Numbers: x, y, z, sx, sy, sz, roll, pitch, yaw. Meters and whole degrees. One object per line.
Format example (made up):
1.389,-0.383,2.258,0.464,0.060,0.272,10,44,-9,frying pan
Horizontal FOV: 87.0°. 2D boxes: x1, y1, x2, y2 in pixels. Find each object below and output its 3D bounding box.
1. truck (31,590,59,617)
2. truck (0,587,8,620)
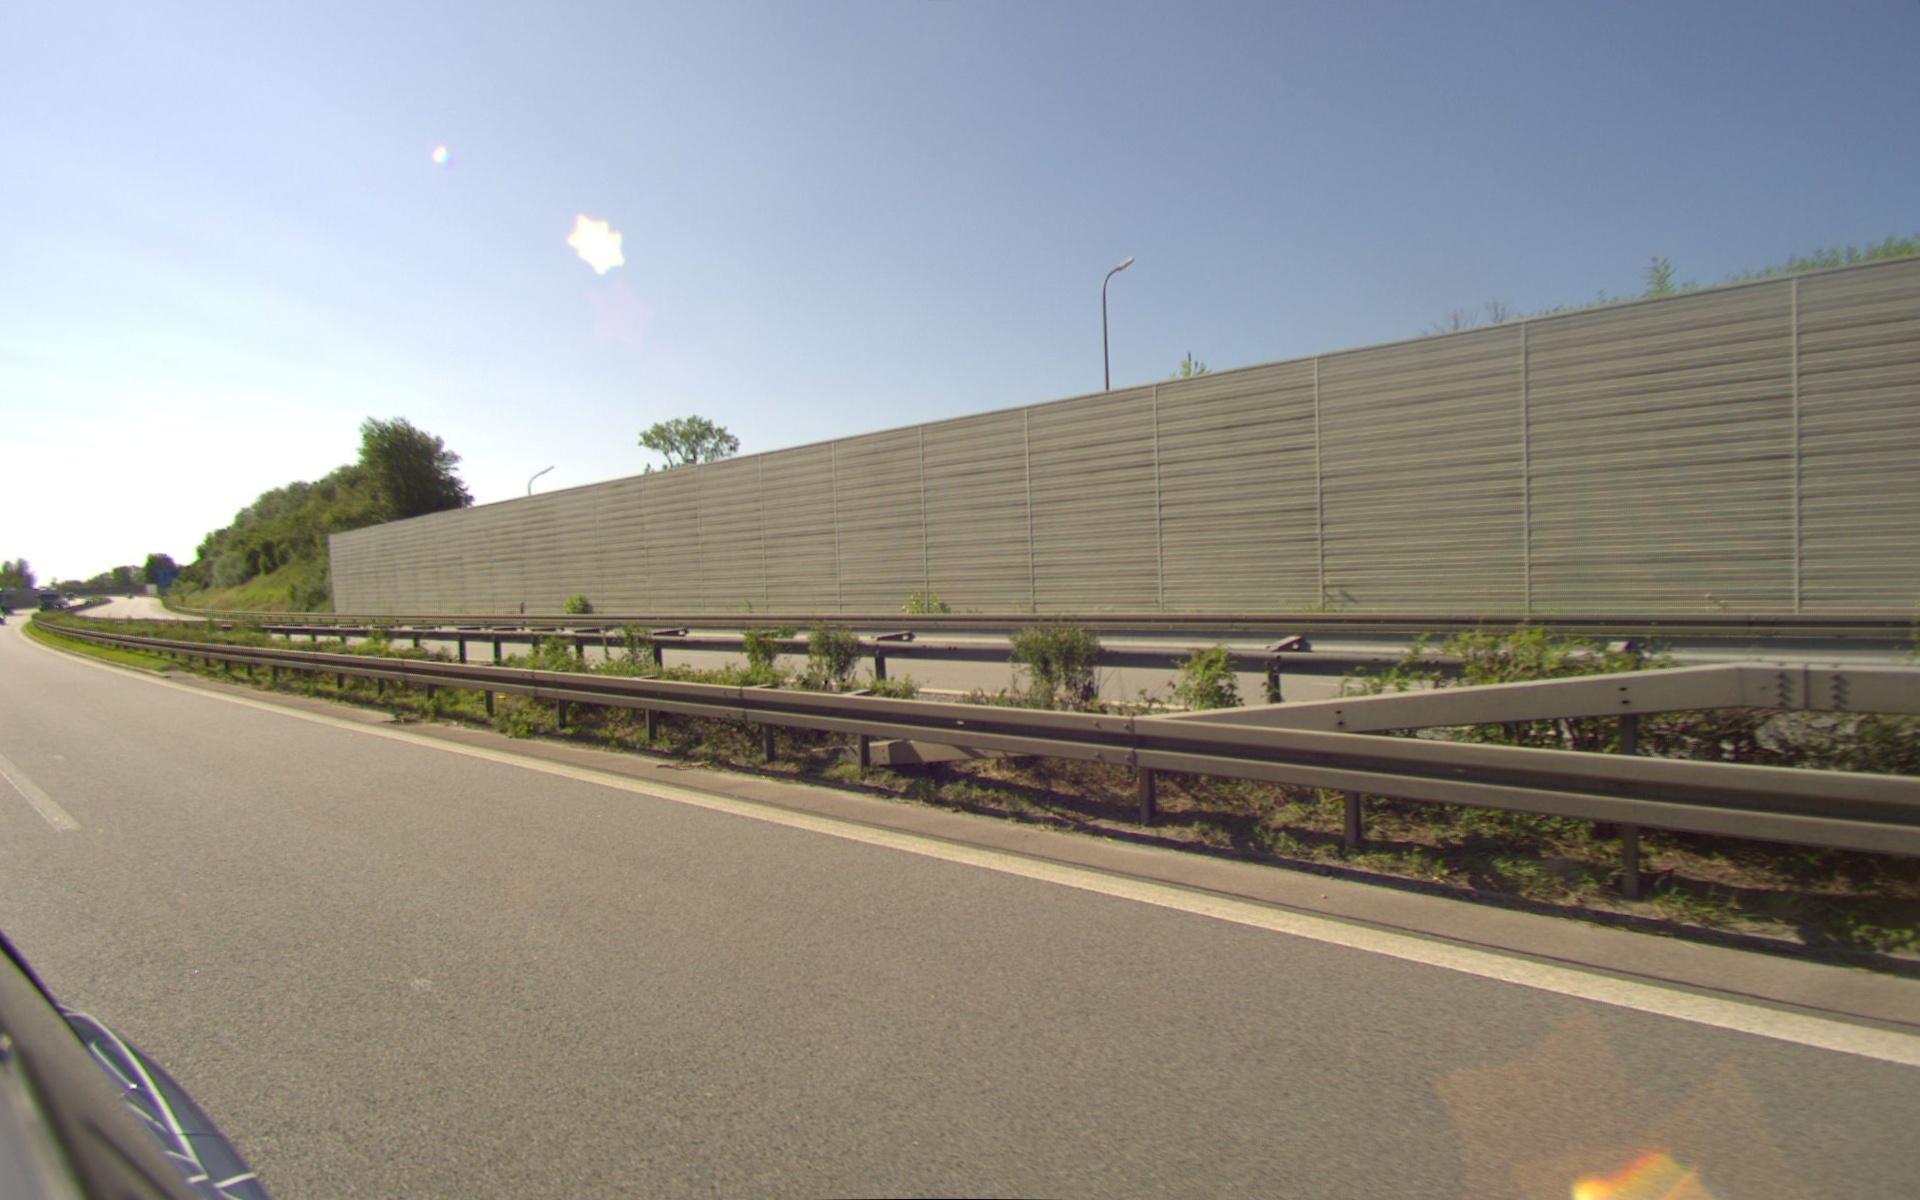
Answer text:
-153.003,0.604,169.190,3.385,4.243,12.099,-1,1,-43,truck
-130.464,0.503,135.882,3.384,4.243,12.102,-1,1,-41,truck
